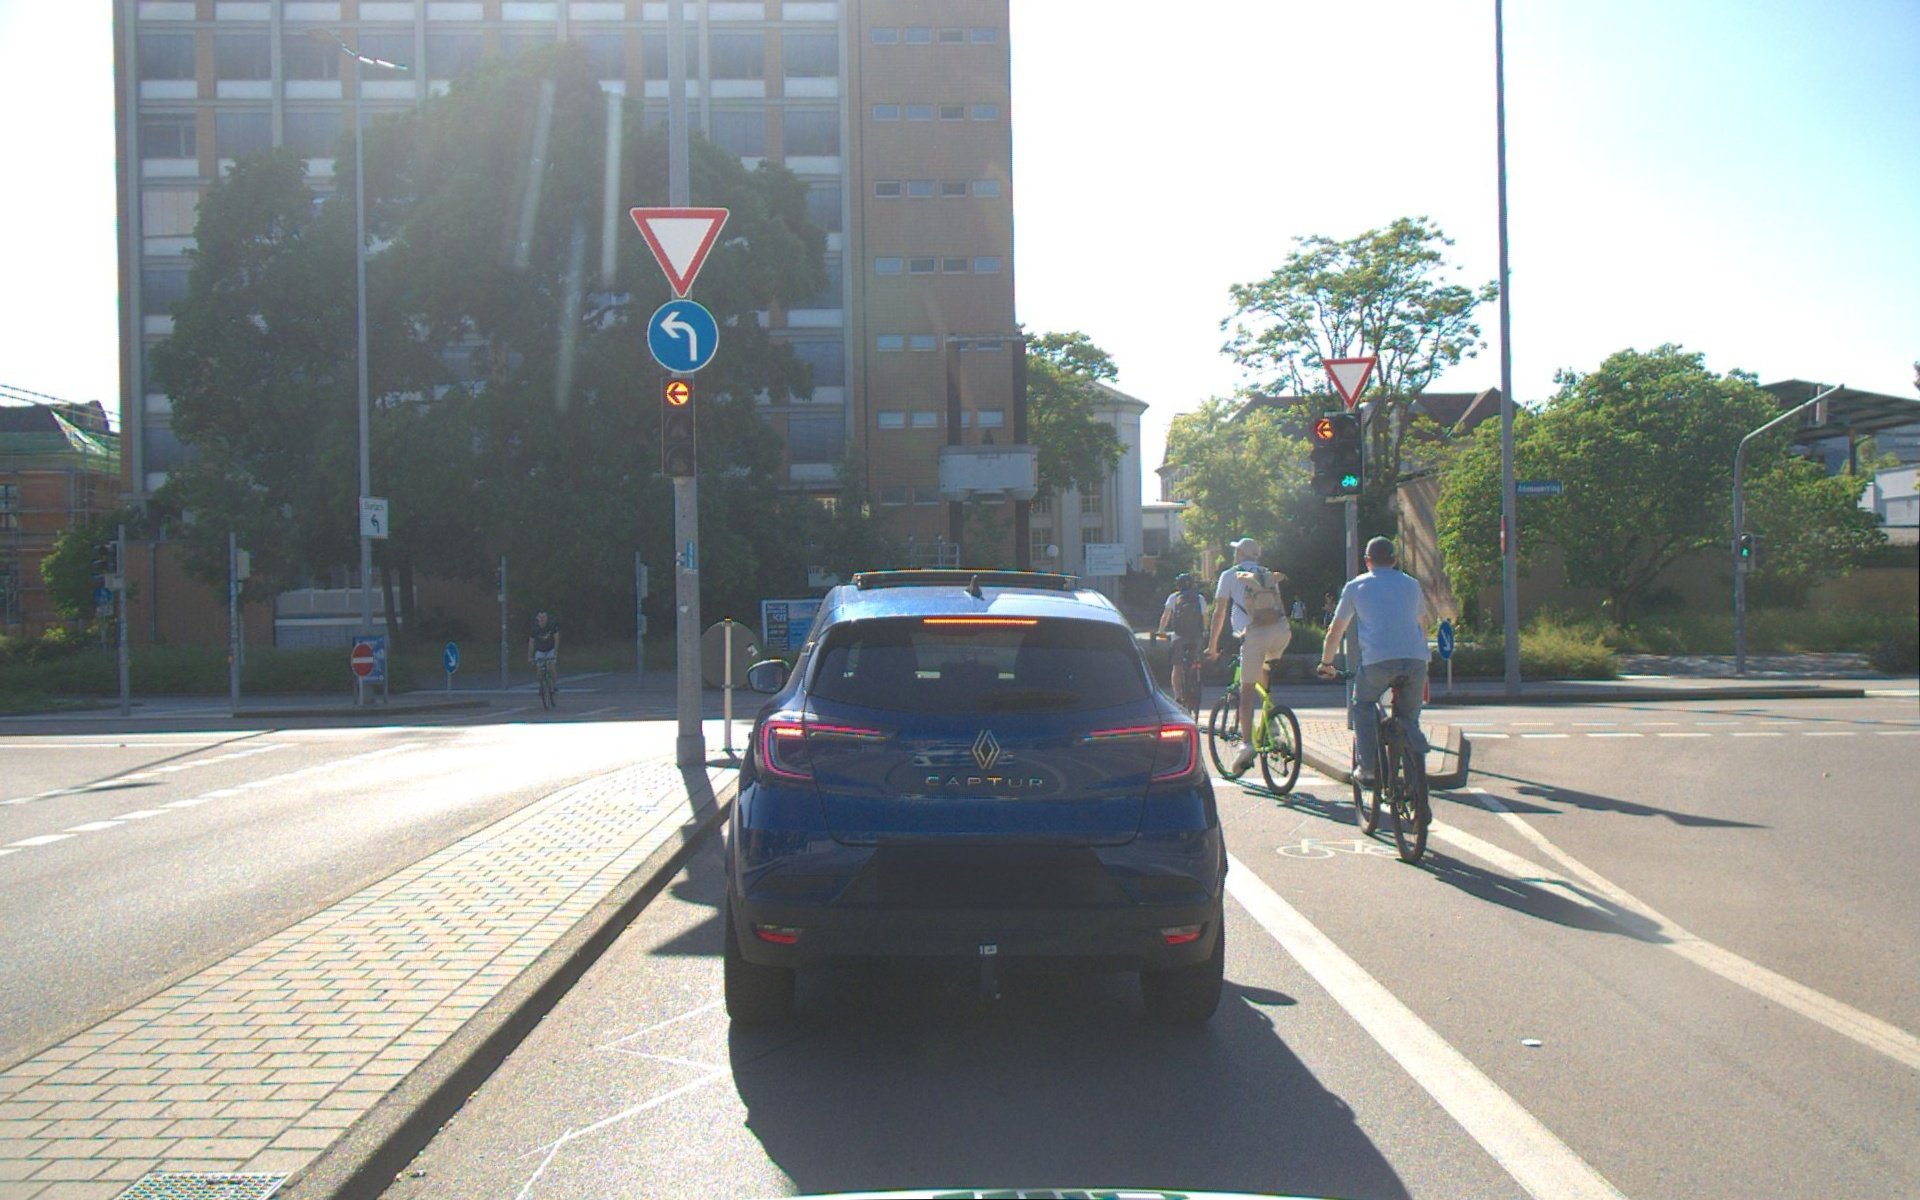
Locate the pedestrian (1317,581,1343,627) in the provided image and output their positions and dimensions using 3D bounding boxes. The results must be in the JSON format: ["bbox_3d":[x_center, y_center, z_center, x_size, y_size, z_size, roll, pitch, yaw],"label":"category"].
[{"bbox_3d":[13.472,0.142,60.154,0.665,1.672,0.732,1,-1,38],"label":"pedestrian"}]

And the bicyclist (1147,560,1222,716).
[{"bbox_3d":[2.614,0.438,19.351,0.705,1.765,0.977,-1,0,-1],"label":"bicyclist"}]

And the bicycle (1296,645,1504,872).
[{"bbox_3d":[2.613,0.900,10.045,0.701,1.185,1.869,-1,0,-2],"label":"bicycle"}]

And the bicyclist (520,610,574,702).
[{"bbox_3d":[-7.627,1.019,30.585,0.705,1.649,0.977,-2,0,-1],"label":"bicyclist"}]

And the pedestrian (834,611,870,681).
[{"bbox_3d":[-2.908,1.231,44.511,0.718,1.848,0.732,1,-1,16],"label":"pedestrian"}]

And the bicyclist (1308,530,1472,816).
[{"bbox_3d":[2.606,0.424,10.107,0.705,1.645,0.977,-1,0,-1],"label":"bicyclist"}]

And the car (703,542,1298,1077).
[{"bbox_3d":[0.104,0.663,7.093,1.838,1.646,3.797,1,0,-1],"label":"car"}]

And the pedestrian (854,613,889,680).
[{"bbox_3d":[-2.432,1.257,45.426,0.718,1.813,0.732,1,-1,16],"label":"pedestrian"}]

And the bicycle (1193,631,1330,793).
[{"bbox_3d":[2.422,0.868,13.499,0.731,1.185,1.870,-1,0,-1],"label":"bicycle"}]

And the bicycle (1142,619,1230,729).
[{"bbox_3d":[2.622,0.835,19.376,0.731,1.185,1.870,-1,0,-1],"label":"bicycle"}]

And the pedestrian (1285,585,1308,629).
[{"bbox_3d":[13.015,0.264,63.988,0.663,1.672,0.734,1,-1,32],"label":"pedestrian"}]

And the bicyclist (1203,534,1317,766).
[{"bbox_3d":[2.413,0.388,13.390,0.705,1.793,0.977,-1,0,-1],"label":"bicyclist"}]

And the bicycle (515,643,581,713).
[{"bbox_3d":[-7.612,1.424,30.630,0.731,1.185,1.870,-2,0,-1],"label":"bicycle"}]
